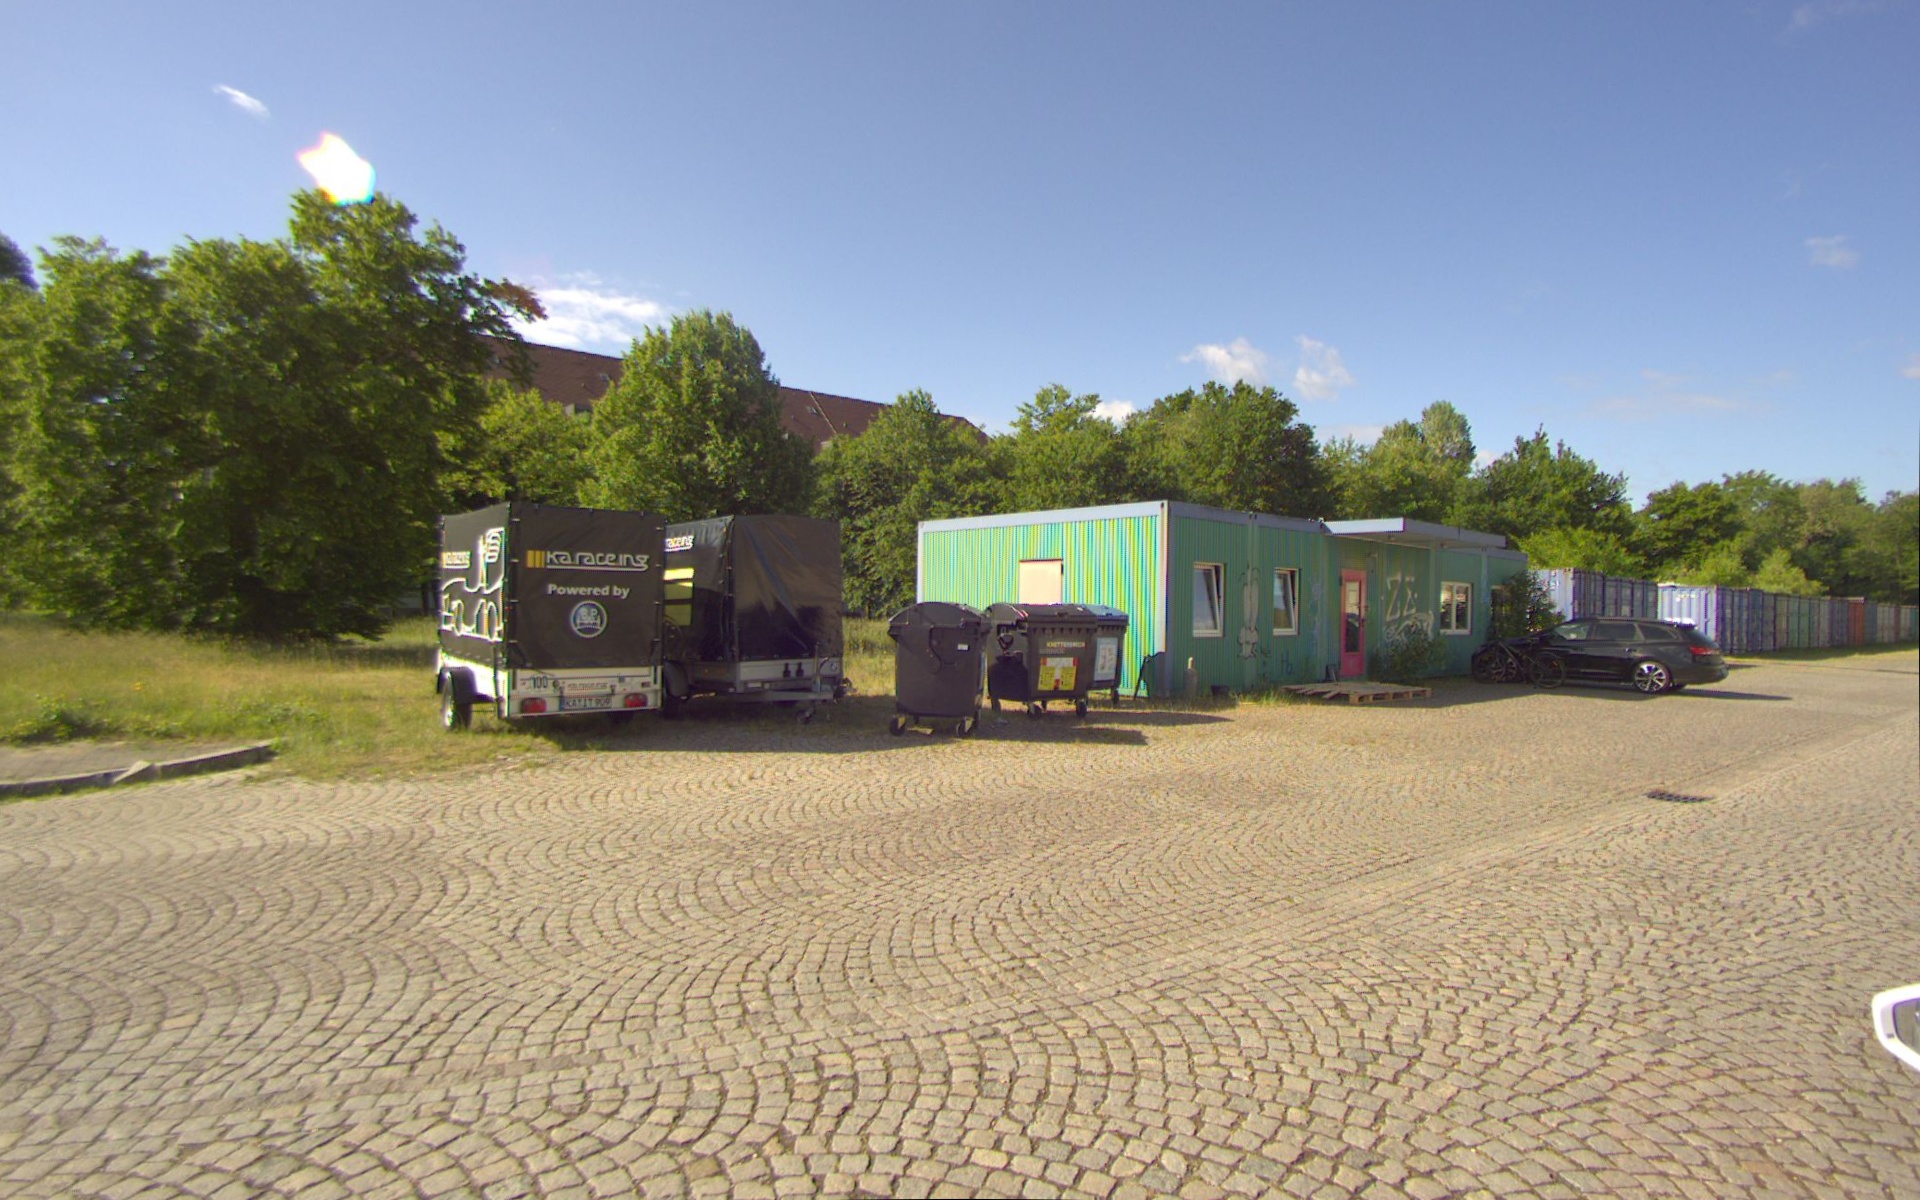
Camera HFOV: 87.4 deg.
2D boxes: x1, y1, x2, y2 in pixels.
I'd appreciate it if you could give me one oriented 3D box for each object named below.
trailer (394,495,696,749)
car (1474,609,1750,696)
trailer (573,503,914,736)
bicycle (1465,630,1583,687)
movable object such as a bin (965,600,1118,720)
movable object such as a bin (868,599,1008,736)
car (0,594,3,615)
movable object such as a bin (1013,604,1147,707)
[{"bbox_3d":[-5.011,0.220,11.712,2.118,2.328,4.620,1,0,-38],"label":"trailer"},{"bbox_3d":[13.199,0.974,20.525,1.985,1.484,4.374,1,0,-42],"label":"car"},{"bbox_3d":[-2.951,0.215,12.832,2.080,2.386,4.913,1,0,-42],"label":"trailer"},{"bbox_3d":[11.342,1.146,20.231,1.030,1.041,1.858,1,0,-41],"label":"bicycle"},{"bbox_3d":[1.057,0.736,13.076,1.522,1.441,1.286,1,0,-38],"label":"movable object such as a bin"},{"bbox_3d":[-0.199,0.711,11.309,1.358,1.405,1.537,1,0,7],"label":"movable object such as a bin"},{"bbox_3d":[-113.485,0.472,114.321,6.394,2.499,2.436,1,-1,-39],"label":"car"},{"bbox_3d":[1.789,0.771,14.840,1.365,1.405,1.529,0,0,39],"label":"movable object such as a bin"}]
